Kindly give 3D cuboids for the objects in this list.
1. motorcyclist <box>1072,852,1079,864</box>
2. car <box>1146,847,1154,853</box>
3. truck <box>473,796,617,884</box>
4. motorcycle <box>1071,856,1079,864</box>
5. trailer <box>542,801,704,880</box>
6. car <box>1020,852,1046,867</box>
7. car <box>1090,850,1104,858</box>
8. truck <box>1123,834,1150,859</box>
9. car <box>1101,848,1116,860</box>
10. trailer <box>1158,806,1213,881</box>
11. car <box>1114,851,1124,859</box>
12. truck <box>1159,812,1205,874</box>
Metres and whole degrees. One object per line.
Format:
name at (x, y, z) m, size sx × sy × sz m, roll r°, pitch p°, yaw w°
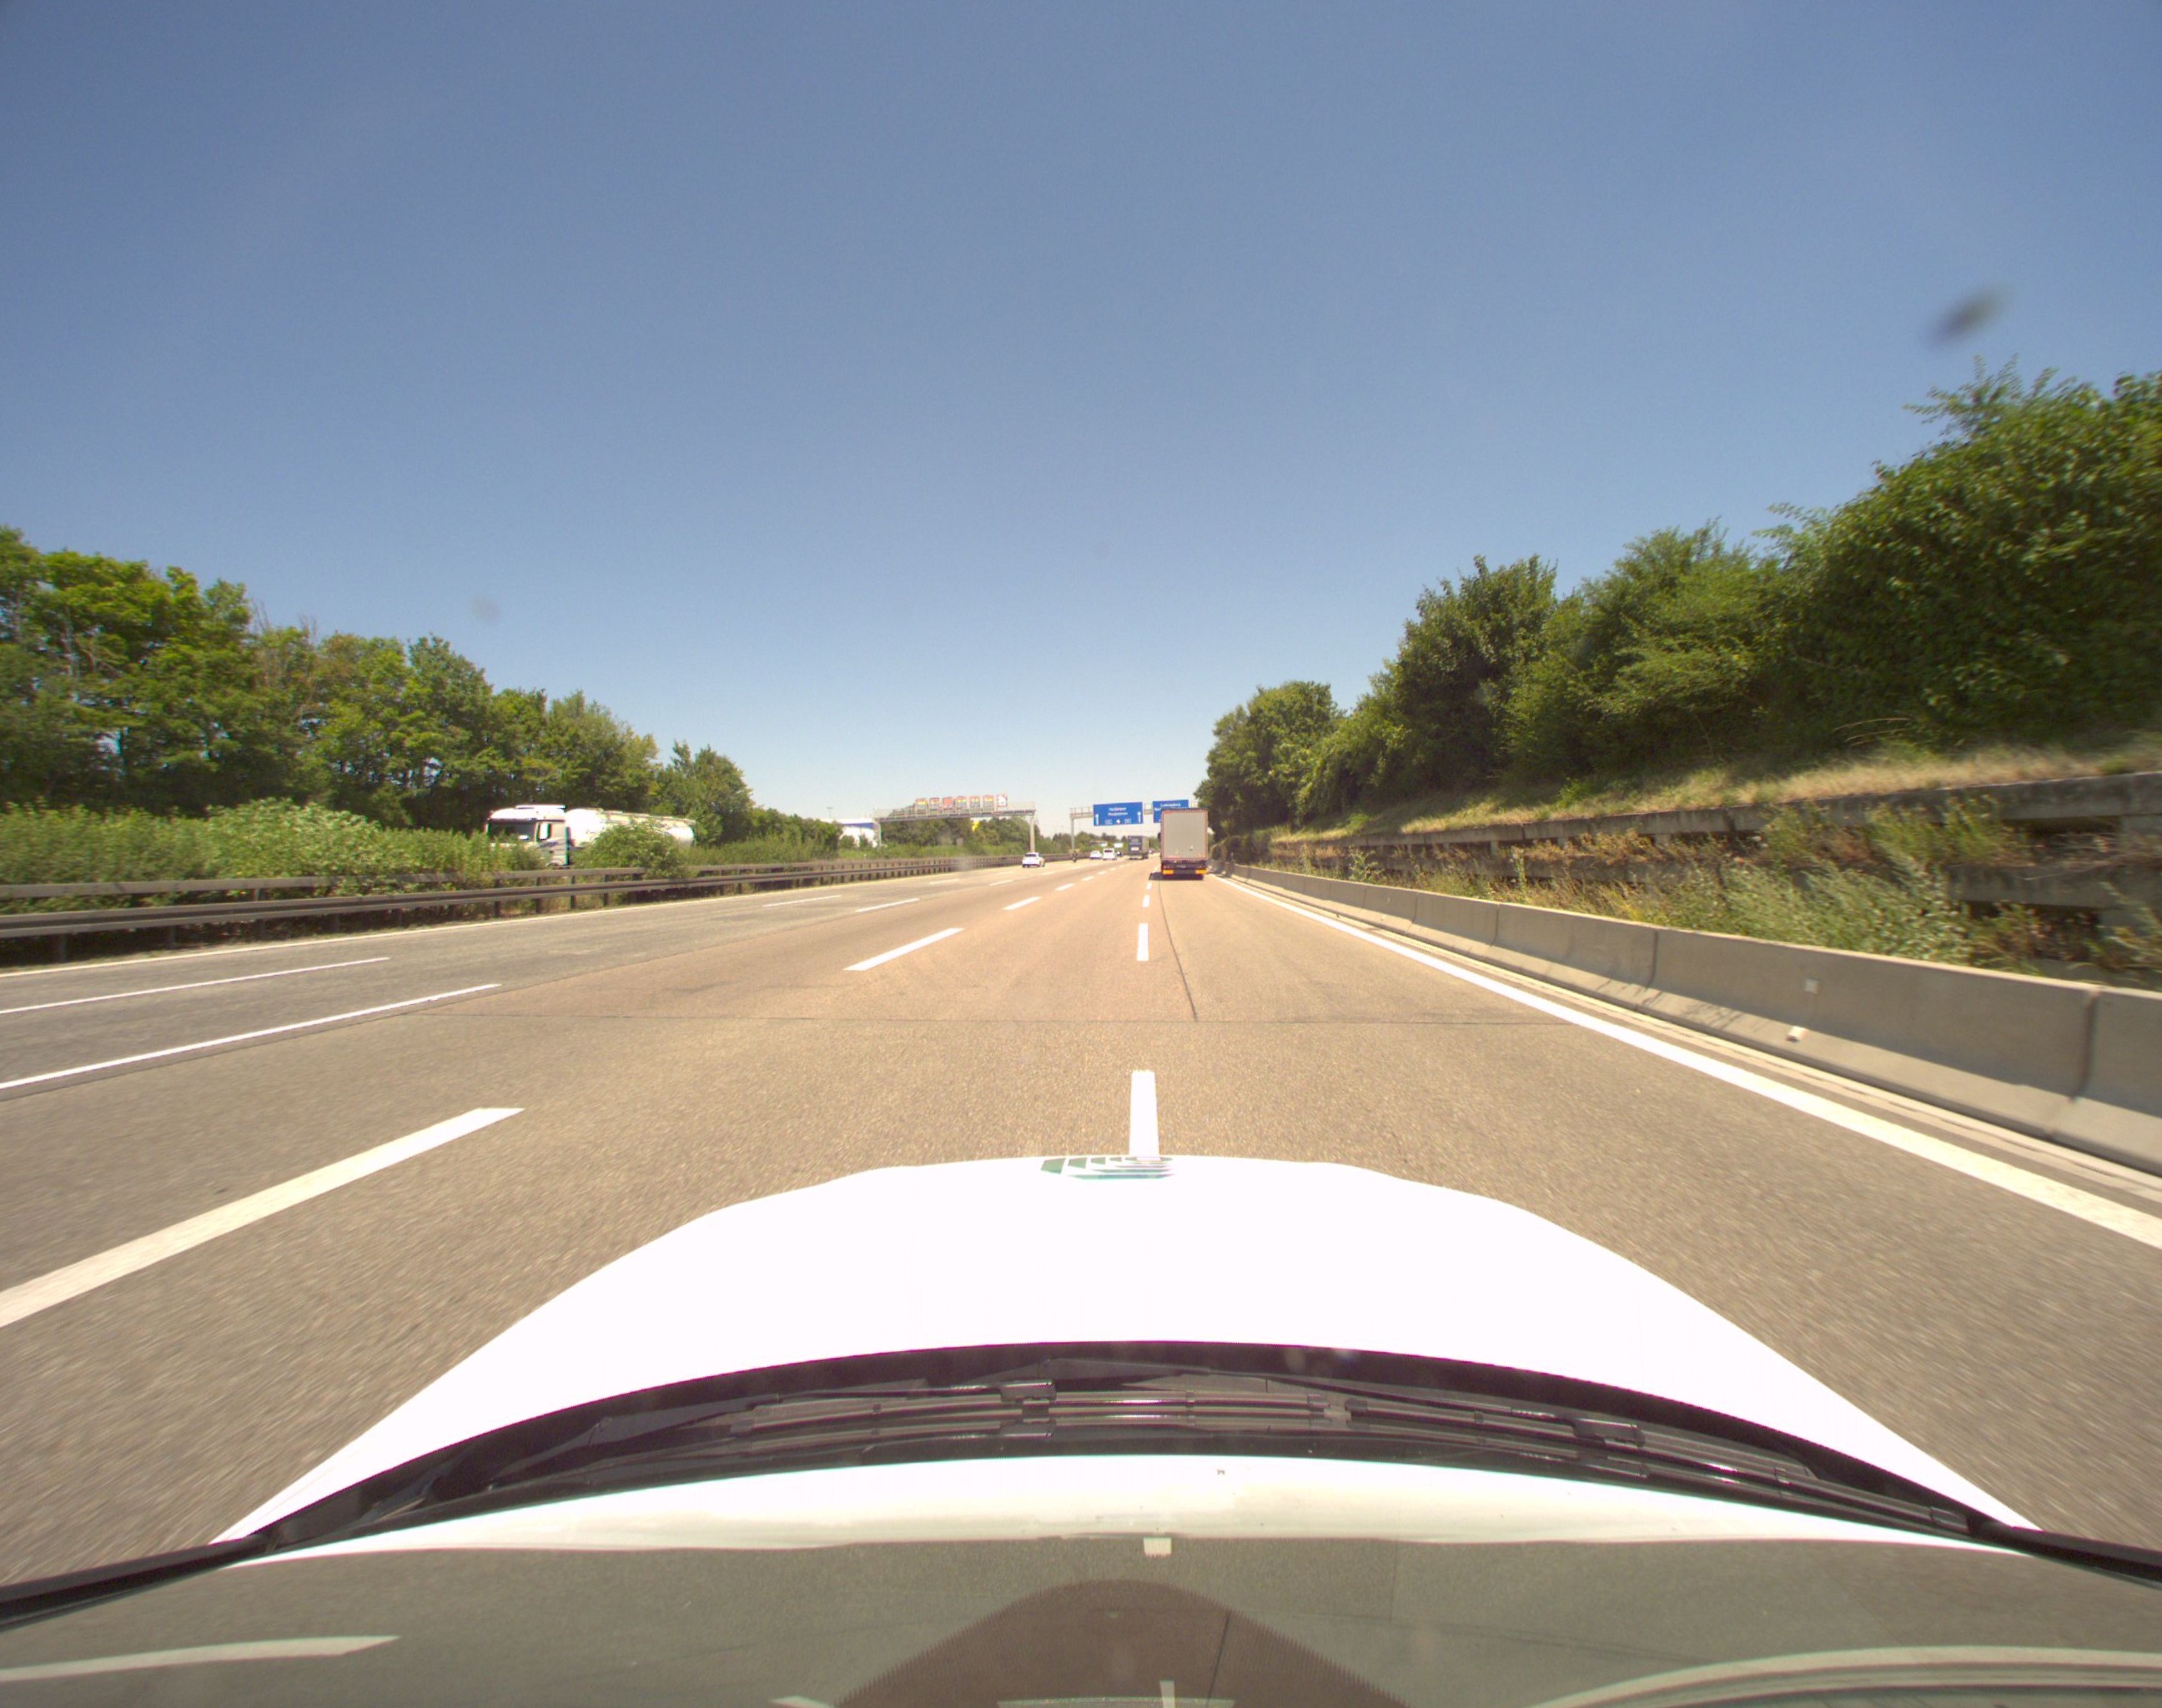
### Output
motorcyclist at (-0.783, 0.528, 111.722) m, size 0.889 × 1.597 × 1.301 m, roll -1°, pitch -1°, yaw 4°
car at (20.038, -1.095, 236.919) m, size 1.865 × 1.783 × 5.138 m, roll -1°, pitch -1°, yaw 9°
truck at (-25.310, -0.643, 38.833) m, size 2.682 × 3.888 × 5.754 m, roll 0°, pitch 0°, yaw 5°
motorcycle at (-0.775, 0.785, 111.733) m, size 0.909 × 1.089 × 2.852 m, roll -1°, pitch -1°, yaw 4°
trailer at (-24.728, -0.697, 44.838) m, size 2.677 × 3.888 × 9.749 m, roll 0°, pitch 0°, yaw 5°
car at (-4.717, 0.540, 81.253) m, size 1.772 × 1.440 × 4.677 m, roll -1°, pitch 0°, yaw 7°
car at (2.735, 0.013, 141.606) m, size 1.866 × 1.440 × 5.136 m, roll -1°, pitch -1°, yaw 7°
truck at (9.819, -1.326, 142.310) m, size 3.726 × 4.270 × 14.530 m, roll 0°, pitch 1°, yaw 8°
car at (4.492, 0.006, 131.211) m, size 1.920 × 1.851 × 4.702 m, roll -2°, pitch 1°, yaw 7°
trailer at (6.300, -0.686, 50.286) m, size 2.913 × 4.015 × 12.059 m, roll -1°, pitch 1°, yaw 6°
car at (8.211, 0.230, 175.007) m, size 1.747 × 1.409 × 5.049 m, roll -2°, pitch -2°, yaw 7°
truck at (7.072, -0.763, 57.578) m, size 2.913 × 4.015 × 7.596 m, roll -1°, pitch 1°, yaw 6°
